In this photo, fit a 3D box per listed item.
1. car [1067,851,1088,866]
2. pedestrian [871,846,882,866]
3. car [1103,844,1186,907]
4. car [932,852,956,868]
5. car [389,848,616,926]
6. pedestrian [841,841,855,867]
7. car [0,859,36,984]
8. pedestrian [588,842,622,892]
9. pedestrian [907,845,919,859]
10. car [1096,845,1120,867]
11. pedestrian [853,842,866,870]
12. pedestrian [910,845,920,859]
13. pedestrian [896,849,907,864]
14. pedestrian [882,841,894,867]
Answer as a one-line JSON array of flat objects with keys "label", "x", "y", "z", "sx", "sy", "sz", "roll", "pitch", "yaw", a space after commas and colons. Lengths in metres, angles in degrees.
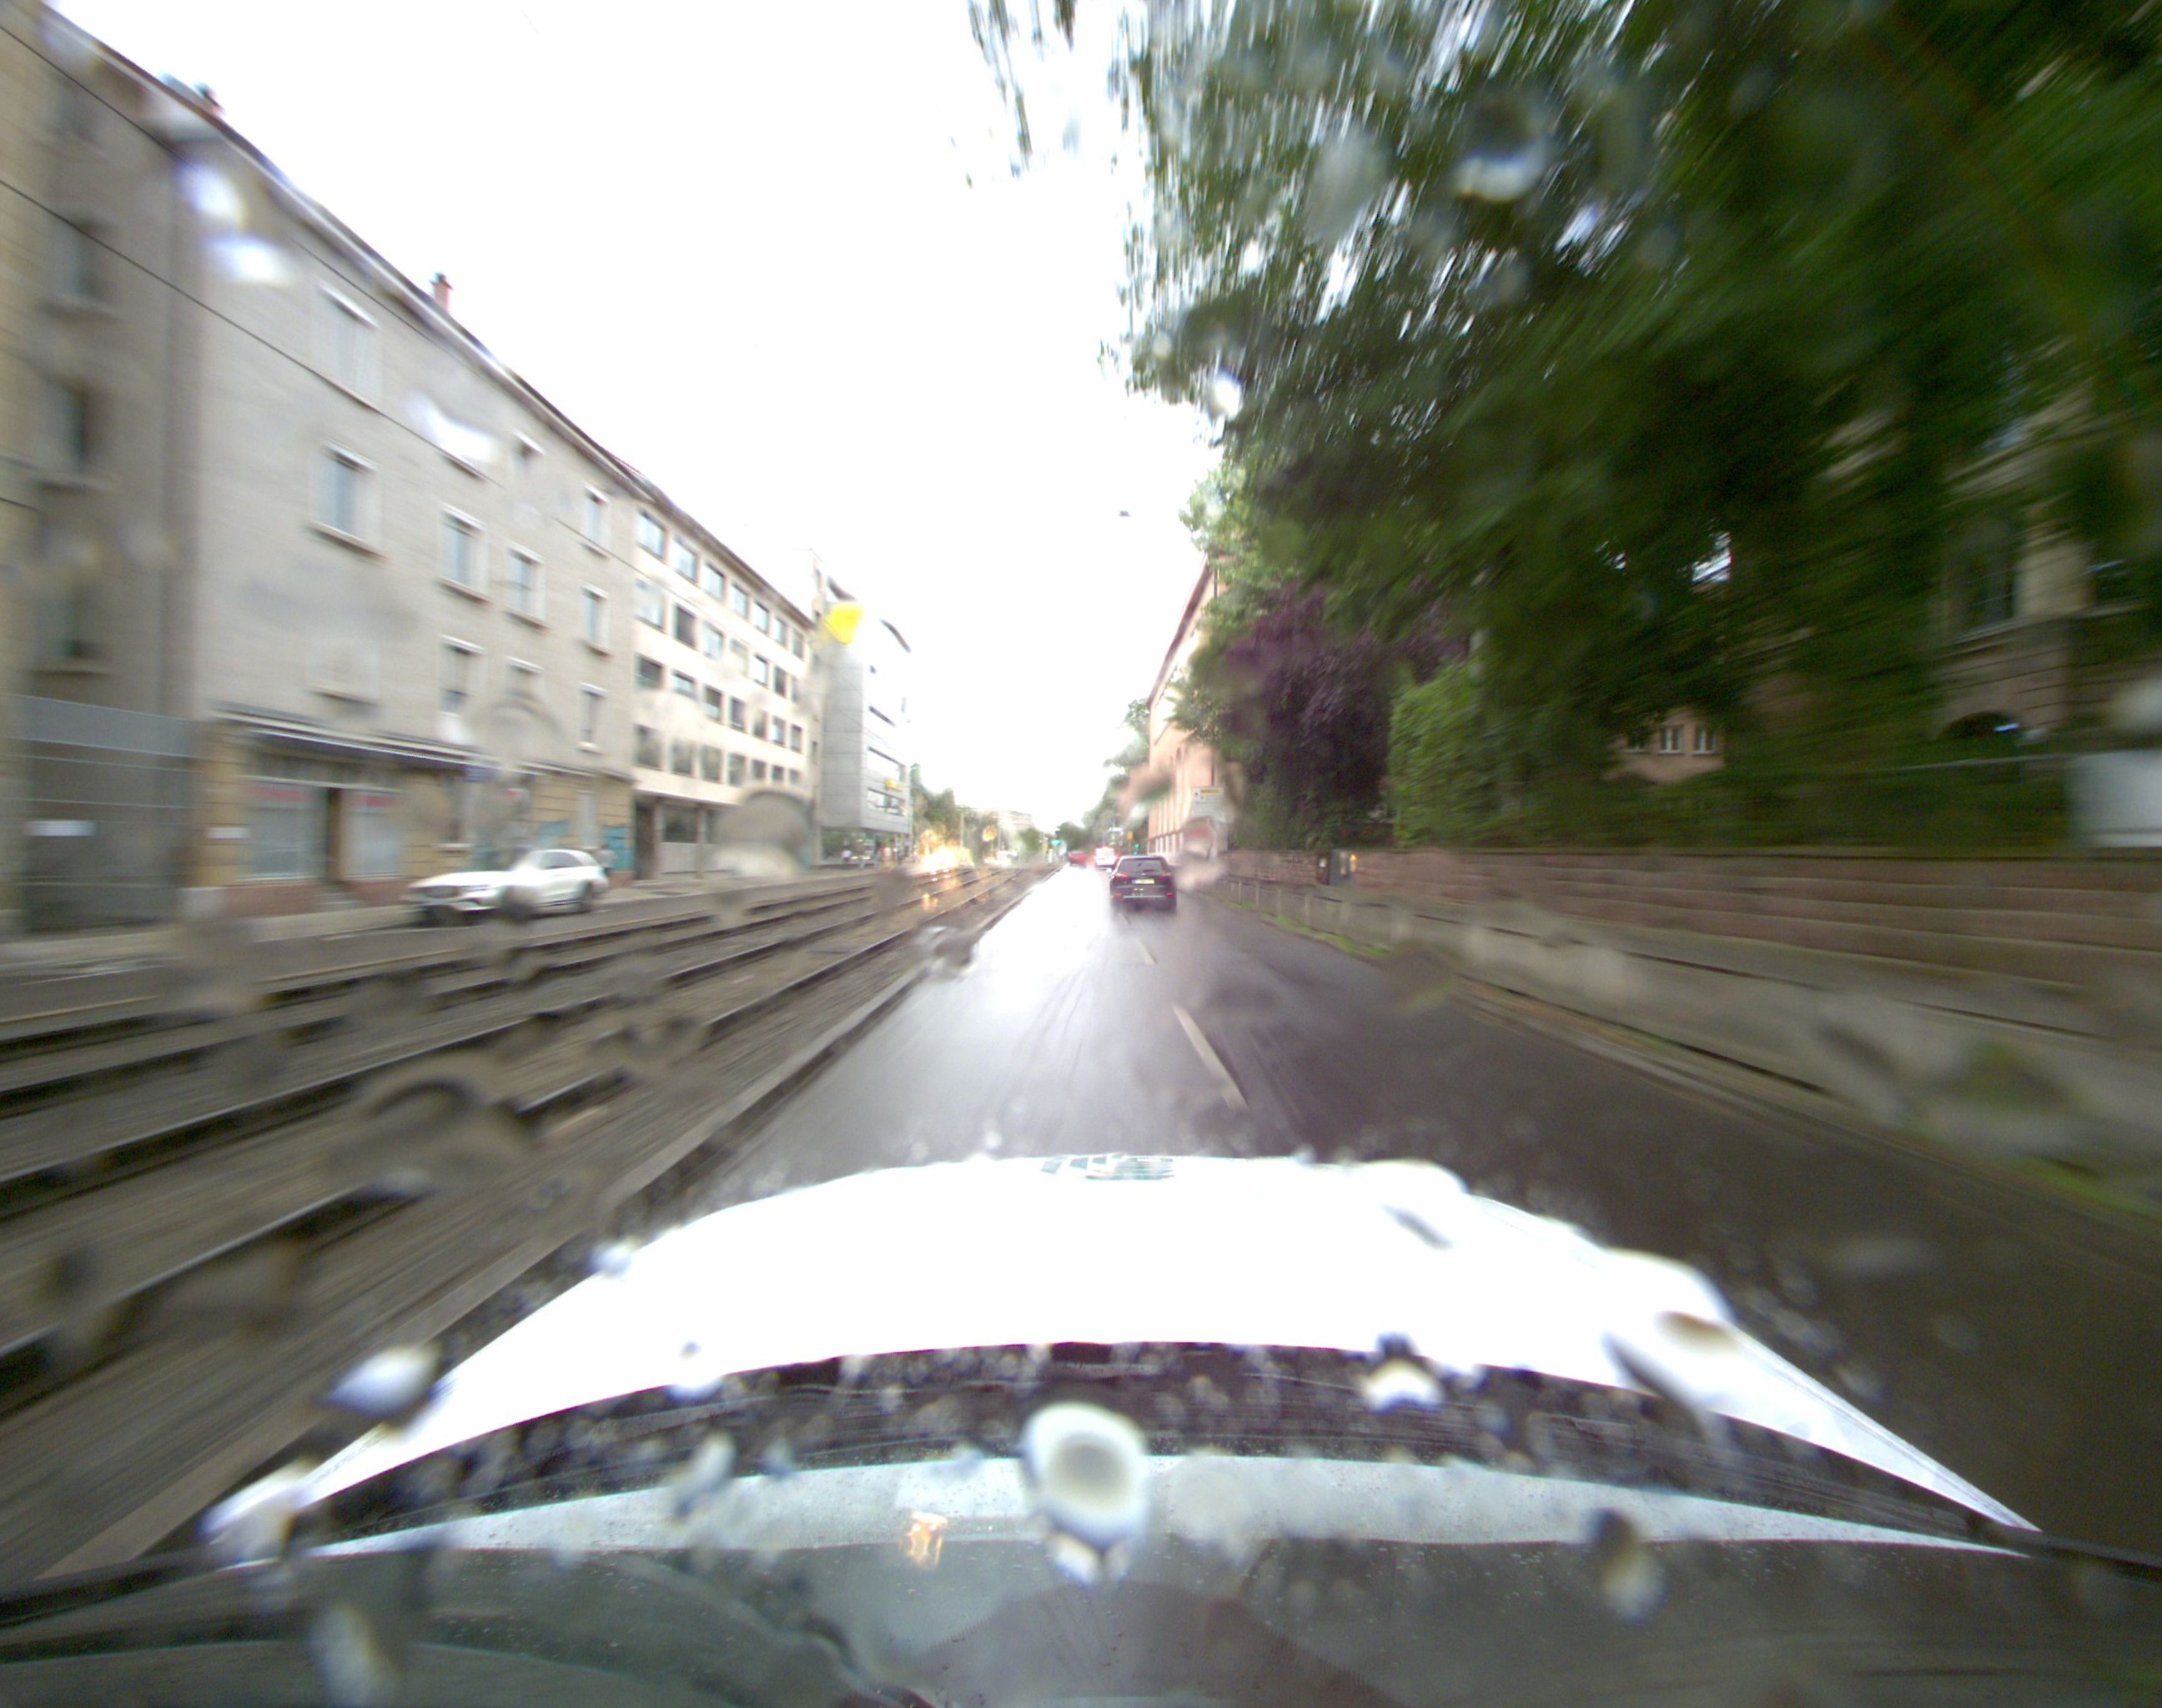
[{"label": "car", "x": -0.348, "y": 0.474, "z": 87.178, "sx": 2.091, "sy": 1.506, "sz": 4.733, "roll": -1, "pitch": 0, "yaw": 1}, {"label": "pedestrian", "x": -16.541, "y": 0.144, "z": 65.925, "sx": 0.582, "sy": 1.594, "sz": 0.638, "roll": 2, "pitch": -1, "yaw": 17}, {"label": "car", "x": 1.697, "y": 0.556, "z": 23.177, "sx": 2.029, "sy": 1.584, "sz": 4.391, "roll": 1, "pitch": 0, "yaw": 0}, {"label": "car", "x": -14.311, "y": 0.622, "z": 85.471, "sx": 1.935, "sy": 1.536, "sz": 4.343, "roll": -3, "pitch": 0, "yaw": -4}, {"label": "car", "x": -13.457, "y": 0.684, "z": 19.408, "sx": 1.987, "sy": 1.536, "sz": 4.747, "roll": -3, "pitch": 0, "yaw": -1}, {"label": "pedestrian", "x": -17.004, "y": -0.009, "z": 59.391, "sx": 0.659, "sy": 1.815, "sz": 0.973, "roll": 2, "pitch": -1, "yaw": 0}, {"label": "car", "x": -13.432, "y": 0.826, "z": 7.682, "sx": 1.731, "sy": 1.456, "sz": 4.169, "roll": -3, "pitch": 0, "yaw": -1}, {"label": "pedestrian", "x": -15.890, "y": 0.431, "z": 27.204, "sx": 0.544, "sy": 1.612, "sz": 0.799, "roll": 3, "pitch": 0, "yaw": 2}, {"label": "pedestrian", "x": -21.117, "y": -0.248, "z": 102.386, "sx": 0.991, "sy": 1.594, "sz": 0.918, "roll": 2, "pitch": -1, "yaw": 24}, {"label": "car", "x": 2.391, "y": 0.146, "z": 72.405, "sx": 2.028, "sy": 1.840, "sz": 4.394, "roll": 1, "pitch": 0, "yaw": 2}, {"label": "pedestrian", "x": -16.157, "y": 0.120, "z": 59.464, "sx": 0.659, "sy": 2.014, "sz": 0.810, "roll": 2, "pitch": -1, "yaw": 0}, {"label": "pedestrian", "x": -21.692, "y": -0.283, "z": 106.178, "sx": 1.006, "sy": 1.863, "sz": 0.905, "roll": 3, "pitch": -1, "yaw": -29}, {"label": "pedestrian", "x": -19.150, "y": 0.293, "z": 86.746, "sx": 0.968, "sy": 1.594, "sz": 0.584, "roll": 3, "pitch": -1, "yaw": -27}, {"label": "pedestrian", "x": -15.677, "y": -0.006, "z": 66.179, "sx": 0.666, "sy": 2.014, "sz": 0.610, "roll": 3, "pitch": -1, "yaw": -39}]
